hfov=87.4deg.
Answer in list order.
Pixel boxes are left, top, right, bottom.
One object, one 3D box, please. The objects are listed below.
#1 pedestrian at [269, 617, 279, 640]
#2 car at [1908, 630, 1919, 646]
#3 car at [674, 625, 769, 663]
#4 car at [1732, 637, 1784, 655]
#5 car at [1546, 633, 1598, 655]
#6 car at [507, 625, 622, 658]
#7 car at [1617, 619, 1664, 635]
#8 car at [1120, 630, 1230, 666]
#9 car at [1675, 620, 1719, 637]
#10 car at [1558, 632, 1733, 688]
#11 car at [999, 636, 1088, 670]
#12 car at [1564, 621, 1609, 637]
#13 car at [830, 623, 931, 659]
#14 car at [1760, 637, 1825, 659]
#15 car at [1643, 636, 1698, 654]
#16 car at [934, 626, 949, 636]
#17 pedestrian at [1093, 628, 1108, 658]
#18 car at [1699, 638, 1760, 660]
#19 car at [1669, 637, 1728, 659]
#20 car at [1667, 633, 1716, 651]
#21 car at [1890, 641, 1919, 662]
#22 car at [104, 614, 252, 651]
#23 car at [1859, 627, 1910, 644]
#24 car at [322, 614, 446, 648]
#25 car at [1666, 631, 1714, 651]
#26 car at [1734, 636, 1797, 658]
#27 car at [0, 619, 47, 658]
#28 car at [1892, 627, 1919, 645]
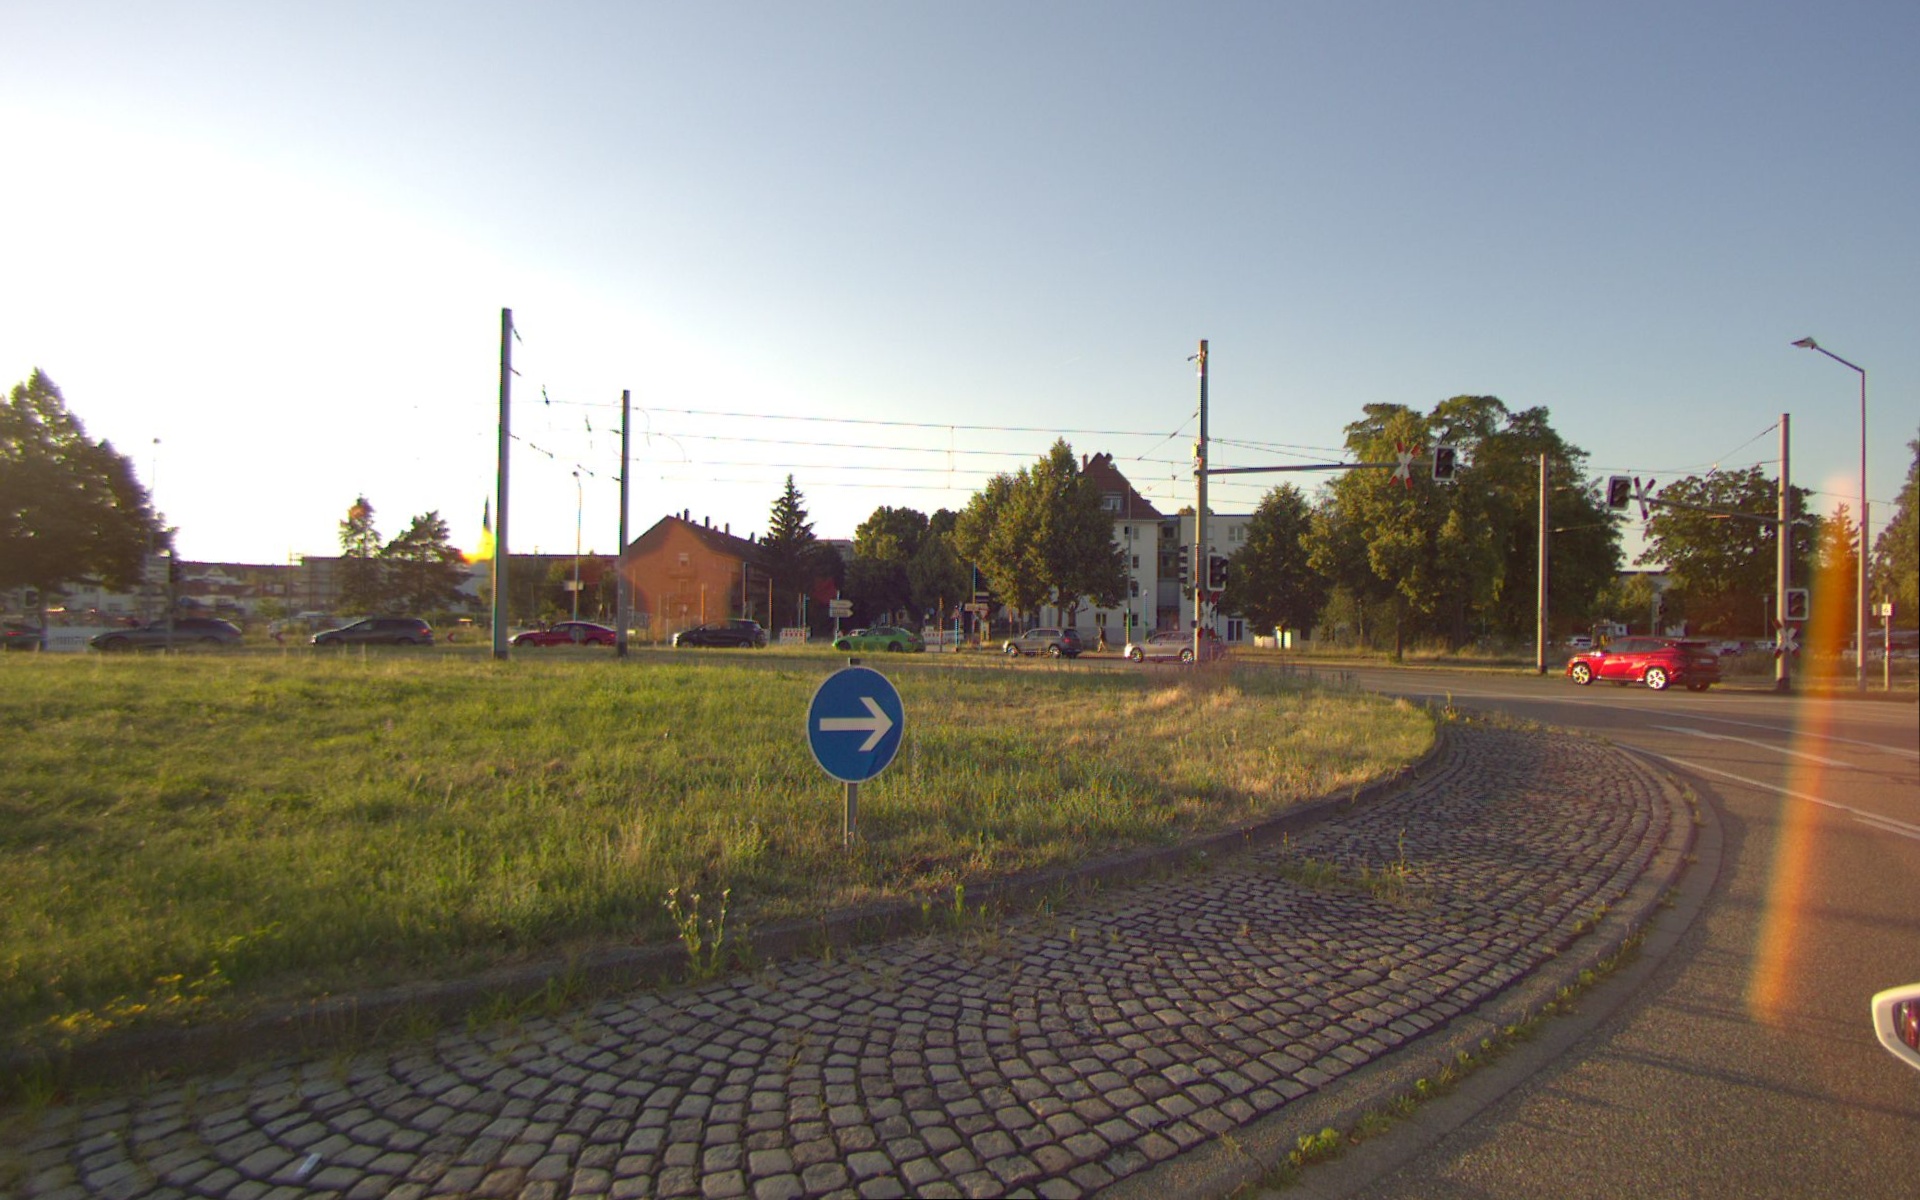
[{"bbox_3d":[-40.132,1.673,58.756,0.392,1.325,0.426,1,-1,-30],"label":"pedestrian"},{"bbox_3d":[105.592,4.132,108.696,1.971,1.728,3.979,1,-1,-22],"label":"car"},{"bbox_3d":[-10.813,1.989,45.793,3.923,1.605,1.895,1,-1,-4],"label":"car"},{"bbox_3d":[77.353,4.437,97.395,3.938,1.684,1.894,0,-1,39],"label":"car"},{"bbox_3d":[49.418,3.559,81.213,1.960,1.625,4.002,1,-1,3],"label":"car"},{"bbox_3d":[-17.607,1.853,44.903,4.416,1.410,1.892,1,-1,-10],"label":"car"},{"bbox_3d":[86.264,3.405,127.419,4.505,2.040,2.001,1,-1,5],"label":"car"},{"bbox_3d":[9.637,2.124,45.342,1.874,1.483,4.609,2,-1,-44],"label":"car"},{"bbox_3d":[93.214,3.612,127.009,4.033,2.040,2.001,1,-1,4],"label":"car"},{"bbox_3d":[21.855,1.858,32.245,1.967,1.594,4.401,1,-1,-16],"label":"car"},{"bbox_3d":[4.519,2.831,54.532,4.452,1.659,1.993,0,-1,36],"label":"car"},{"bbox_3d":[79.589,3.674,127.604,4.507,2.040,2.000,1,-1,0],"label":"car"},{"bbox_3d":[-3.795,1.940,48.093,4.398,1.600,2.000,0,-1,21],"label":"car"},{"bbox_3d":[66.372,3.804,80.152,1.960,1.625,4.002,1,-1,3],"label":"car"},{"bbox_3d":[69.216,4.347,97.913,3.919,1.684,1.904,1,-1,5],"label":"car"},{"bbox_3d":[-2.984,4.926,160.301,1.960,1.618,4.002,1,-1,5],"label":"car"},{"bbox_3d":[9.012,2.761,64.346,0.614,1.918,0.662,2,0,-35],"label":"pedestrian"},{"bbox_3d":[61.638,3.927,80.543,1.960,1.625,4.002,1,-1,3],"label":"car"},{"bbox_3d":[59.519,3.865,81.021,1.960,1.625,4.002,1,-1,3],"label":"car"},{"bbox_3d":[73.167,4.206,100.557,3.934,1.684,1.994,0,-1,35],"label":"car"},{"bbox_3d":[76.356,4.103,79.455,1.960,1.625,4.002,1,-1,3],"label":"car"},{"bbox_3d":[-30.666,1.263,39.563,4.299,1.394,1.985,1,-1,-29],"label":"car"},{"bbox_3d":[108.040,4.150,117.425,3.919,1.840,2.001,1,-1,5],"label":"car"},{"bbox_3d":[-24.302,1.323,42.563,4.323,1.394,1.989,1,-1,-24],"label":"car"},{"bbox_3d":[75.905,4.253,104.524,3.934,2.040,1.994,0,-1,35],"label":"car"},{"bbox_3d":[64.019,3.731,79.913,1.960,1.625,4.002,1,-1,3],"label":"car"},{"bbox_3d":[-42.984,1.675,44.485,3.920,1.673,2.001,0,-1,16],"label":"car"},{"bbox_3d":[107.460,4.049,112.573,3.919,2.040,2.001,1,-1,11],"label":"car"}]
